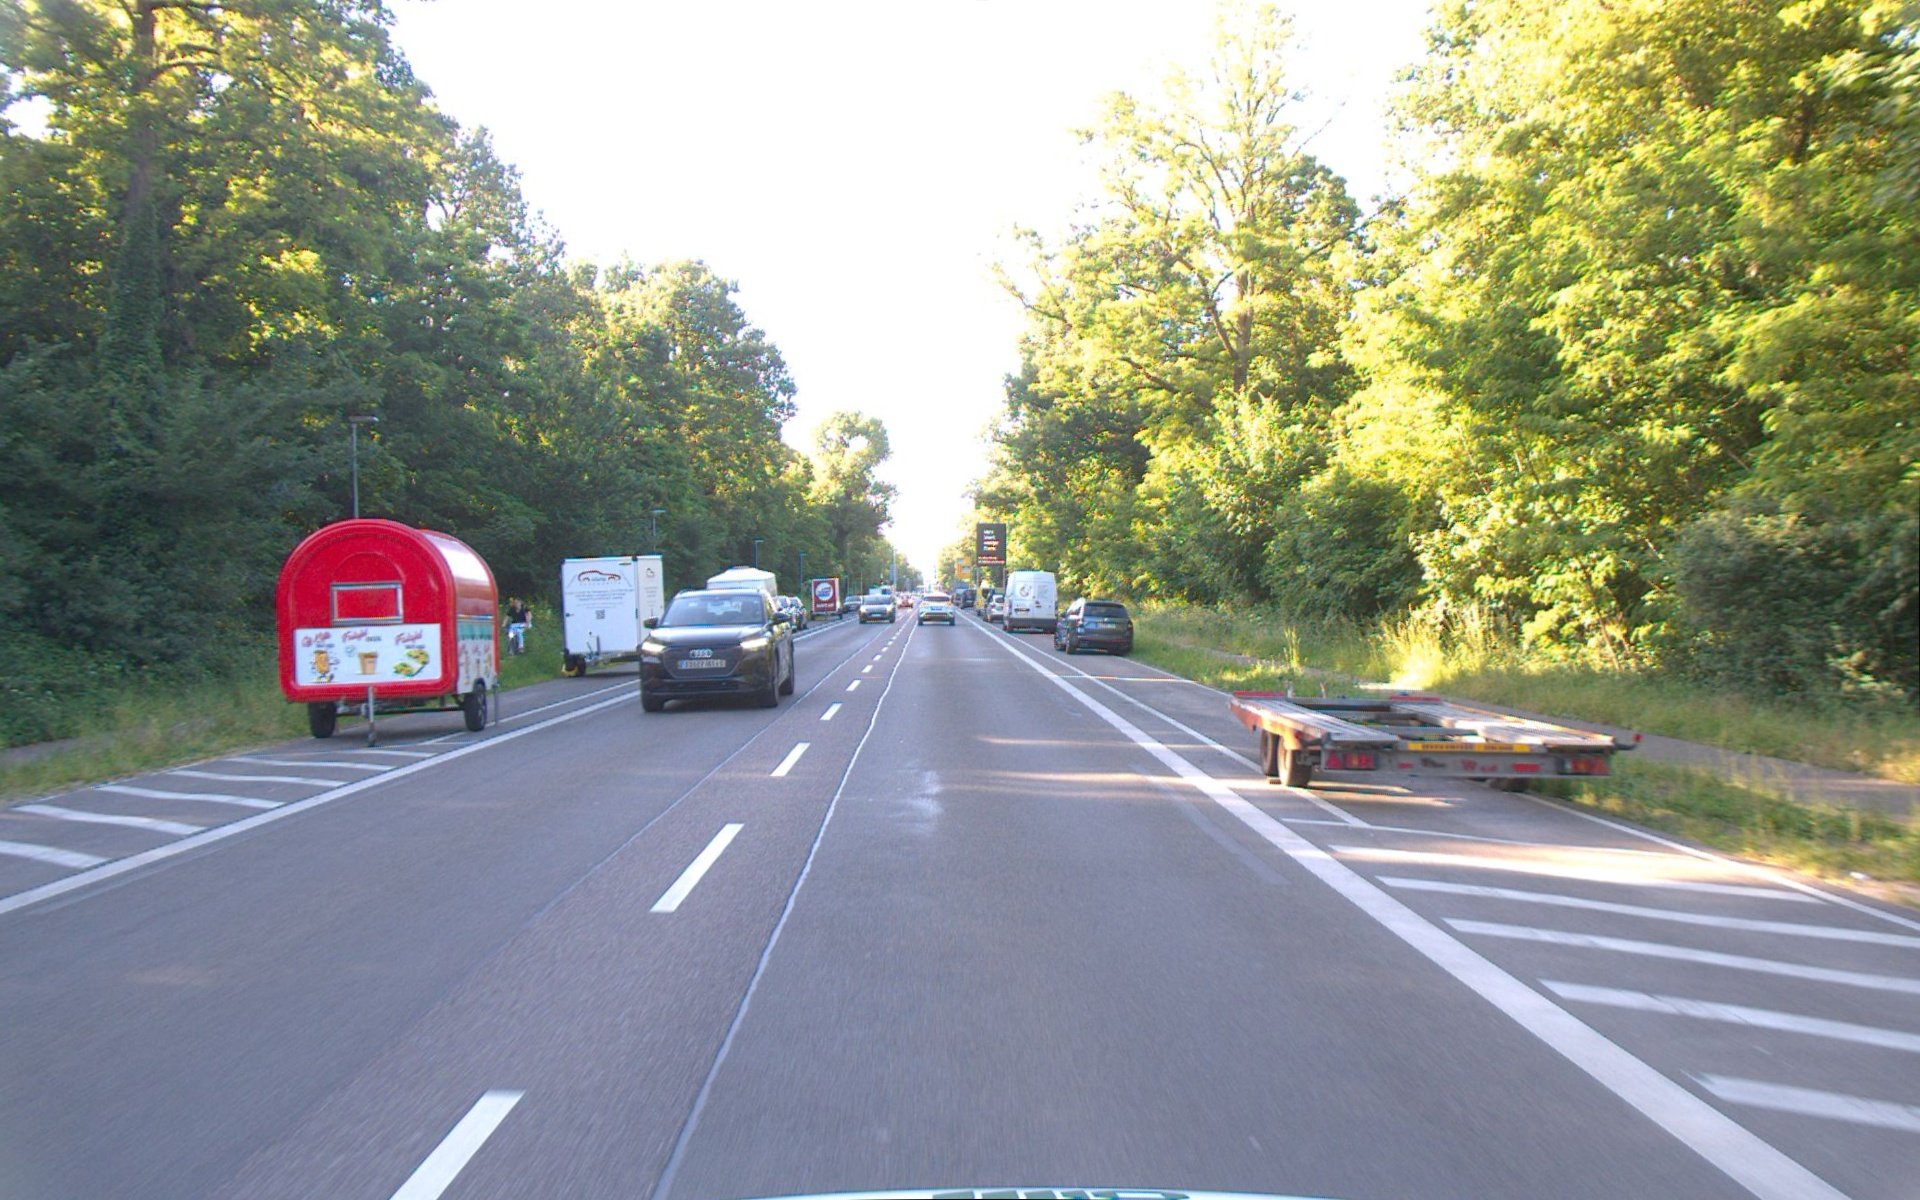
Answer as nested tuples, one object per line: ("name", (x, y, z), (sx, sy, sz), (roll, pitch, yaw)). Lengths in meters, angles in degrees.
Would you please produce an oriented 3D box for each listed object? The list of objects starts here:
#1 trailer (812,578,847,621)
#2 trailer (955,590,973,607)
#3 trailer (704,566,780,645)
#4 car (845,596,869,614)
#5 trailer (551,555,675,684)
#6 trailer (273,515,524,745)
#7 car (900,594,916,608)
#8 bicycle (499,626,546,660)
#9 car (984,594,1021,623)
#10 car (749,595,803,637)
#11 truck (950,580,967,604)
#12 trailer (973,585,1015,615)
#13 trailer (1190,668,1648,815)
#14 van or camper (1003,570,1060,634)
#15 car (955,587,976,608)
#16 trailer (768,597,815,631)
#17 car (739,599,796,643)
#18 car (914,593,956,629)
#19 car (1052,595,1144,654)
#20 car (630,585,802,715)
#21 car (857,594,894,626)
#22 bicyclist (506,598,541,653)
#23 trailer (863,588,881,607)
("trailer", (-8.314, -0.042, 106.024), (1.953, 2.667, 4.085), (-1, 0, -1))
("trailer", (0.479, -0.152, 210.765), (1.580, 2.149, 2.397), (0, 0, 20))
("trailer", (-7.487, 0.171, 57.210), (2.300, 2.573, 4.340), (-1, 0, -4))
("car", (-8.972, 0.441, 144.253), (1.817, 1.490, 4.783), (-1, 0, -1))
("trailer", (-7.159, 0.376, 34.436), (2.026, 2.524, 3.558), (-1, 0, -4))
("trailer", (-6.720, 0.324, 20.212), (2.026, 2.524, 3.558), (-1, 0, -4))
("car", (-5.444, 0.093, 172.784), (1.571, 1.445, 3.517), (-2, 0, -1))
("bicycle", (-11.287, 1.104, 42.741), (0.657, 0.815, 2.098), (1, 0, -1))
("car", (2.252, 0.437, 89.213), (1.700, 1.514, 4.399), (2, 0, -2))
("car", (-7.683, 0.662, 69.397), (1.637, 1.601, 5.126), (-4, 0, -1))
("truck", (-0.189, -1.086, 240.853), (2.454, 3.425, 7.106), (0, 0, 0))
("trailer", (2.440, -0.032, 117.175), (1.921, 2.058, 3.845), (0, 0, 19))
("trailer", (3.652, 1.122, 14.546), (2.383, 0.812, 5.658), (1, 0, -1))
("van or camper", (2.920, 0.078, 68.584), (2.082, 2.526, 6.304), (0, 0, 0))
("car", (0.543, -0.236, 166.565), (2.070, 2.049, 5.039), (1, 0, -1))
("trailer", (-7.762, 0.637, 76.708), (1.804, 1.492, 4.465), (0, 0, -1))
("car", (-7.341, 0.799, 63.381), (1.637, 1.521, 4.193), (-4, 0, -1))
("car", (-1.231, 0.517, 80.581), (1.953, 1.668, 3.999), (-1, 0, -1))
("car", (3.702, 0.633, 45.113), (1.798, 1.445, 4.593), (2, 0, -4))
("car", (-3.332, 0.649, 23.397), (1.781, 1.614, 4.458), (-1, 0, -1))
("car", (-4.416, 0.527, 87.067), (1.782, 1.559, 4.529), (-1, 0, -1))
("bicyclist", (-11.282, 0.653, 42.808), (0.657, 1.388, 0.905), (0, 0, -1))
("trailer", (-11.173, -0.328, 210.863), (2.032, 2.333, 3.487), (-1, 0, 1))
